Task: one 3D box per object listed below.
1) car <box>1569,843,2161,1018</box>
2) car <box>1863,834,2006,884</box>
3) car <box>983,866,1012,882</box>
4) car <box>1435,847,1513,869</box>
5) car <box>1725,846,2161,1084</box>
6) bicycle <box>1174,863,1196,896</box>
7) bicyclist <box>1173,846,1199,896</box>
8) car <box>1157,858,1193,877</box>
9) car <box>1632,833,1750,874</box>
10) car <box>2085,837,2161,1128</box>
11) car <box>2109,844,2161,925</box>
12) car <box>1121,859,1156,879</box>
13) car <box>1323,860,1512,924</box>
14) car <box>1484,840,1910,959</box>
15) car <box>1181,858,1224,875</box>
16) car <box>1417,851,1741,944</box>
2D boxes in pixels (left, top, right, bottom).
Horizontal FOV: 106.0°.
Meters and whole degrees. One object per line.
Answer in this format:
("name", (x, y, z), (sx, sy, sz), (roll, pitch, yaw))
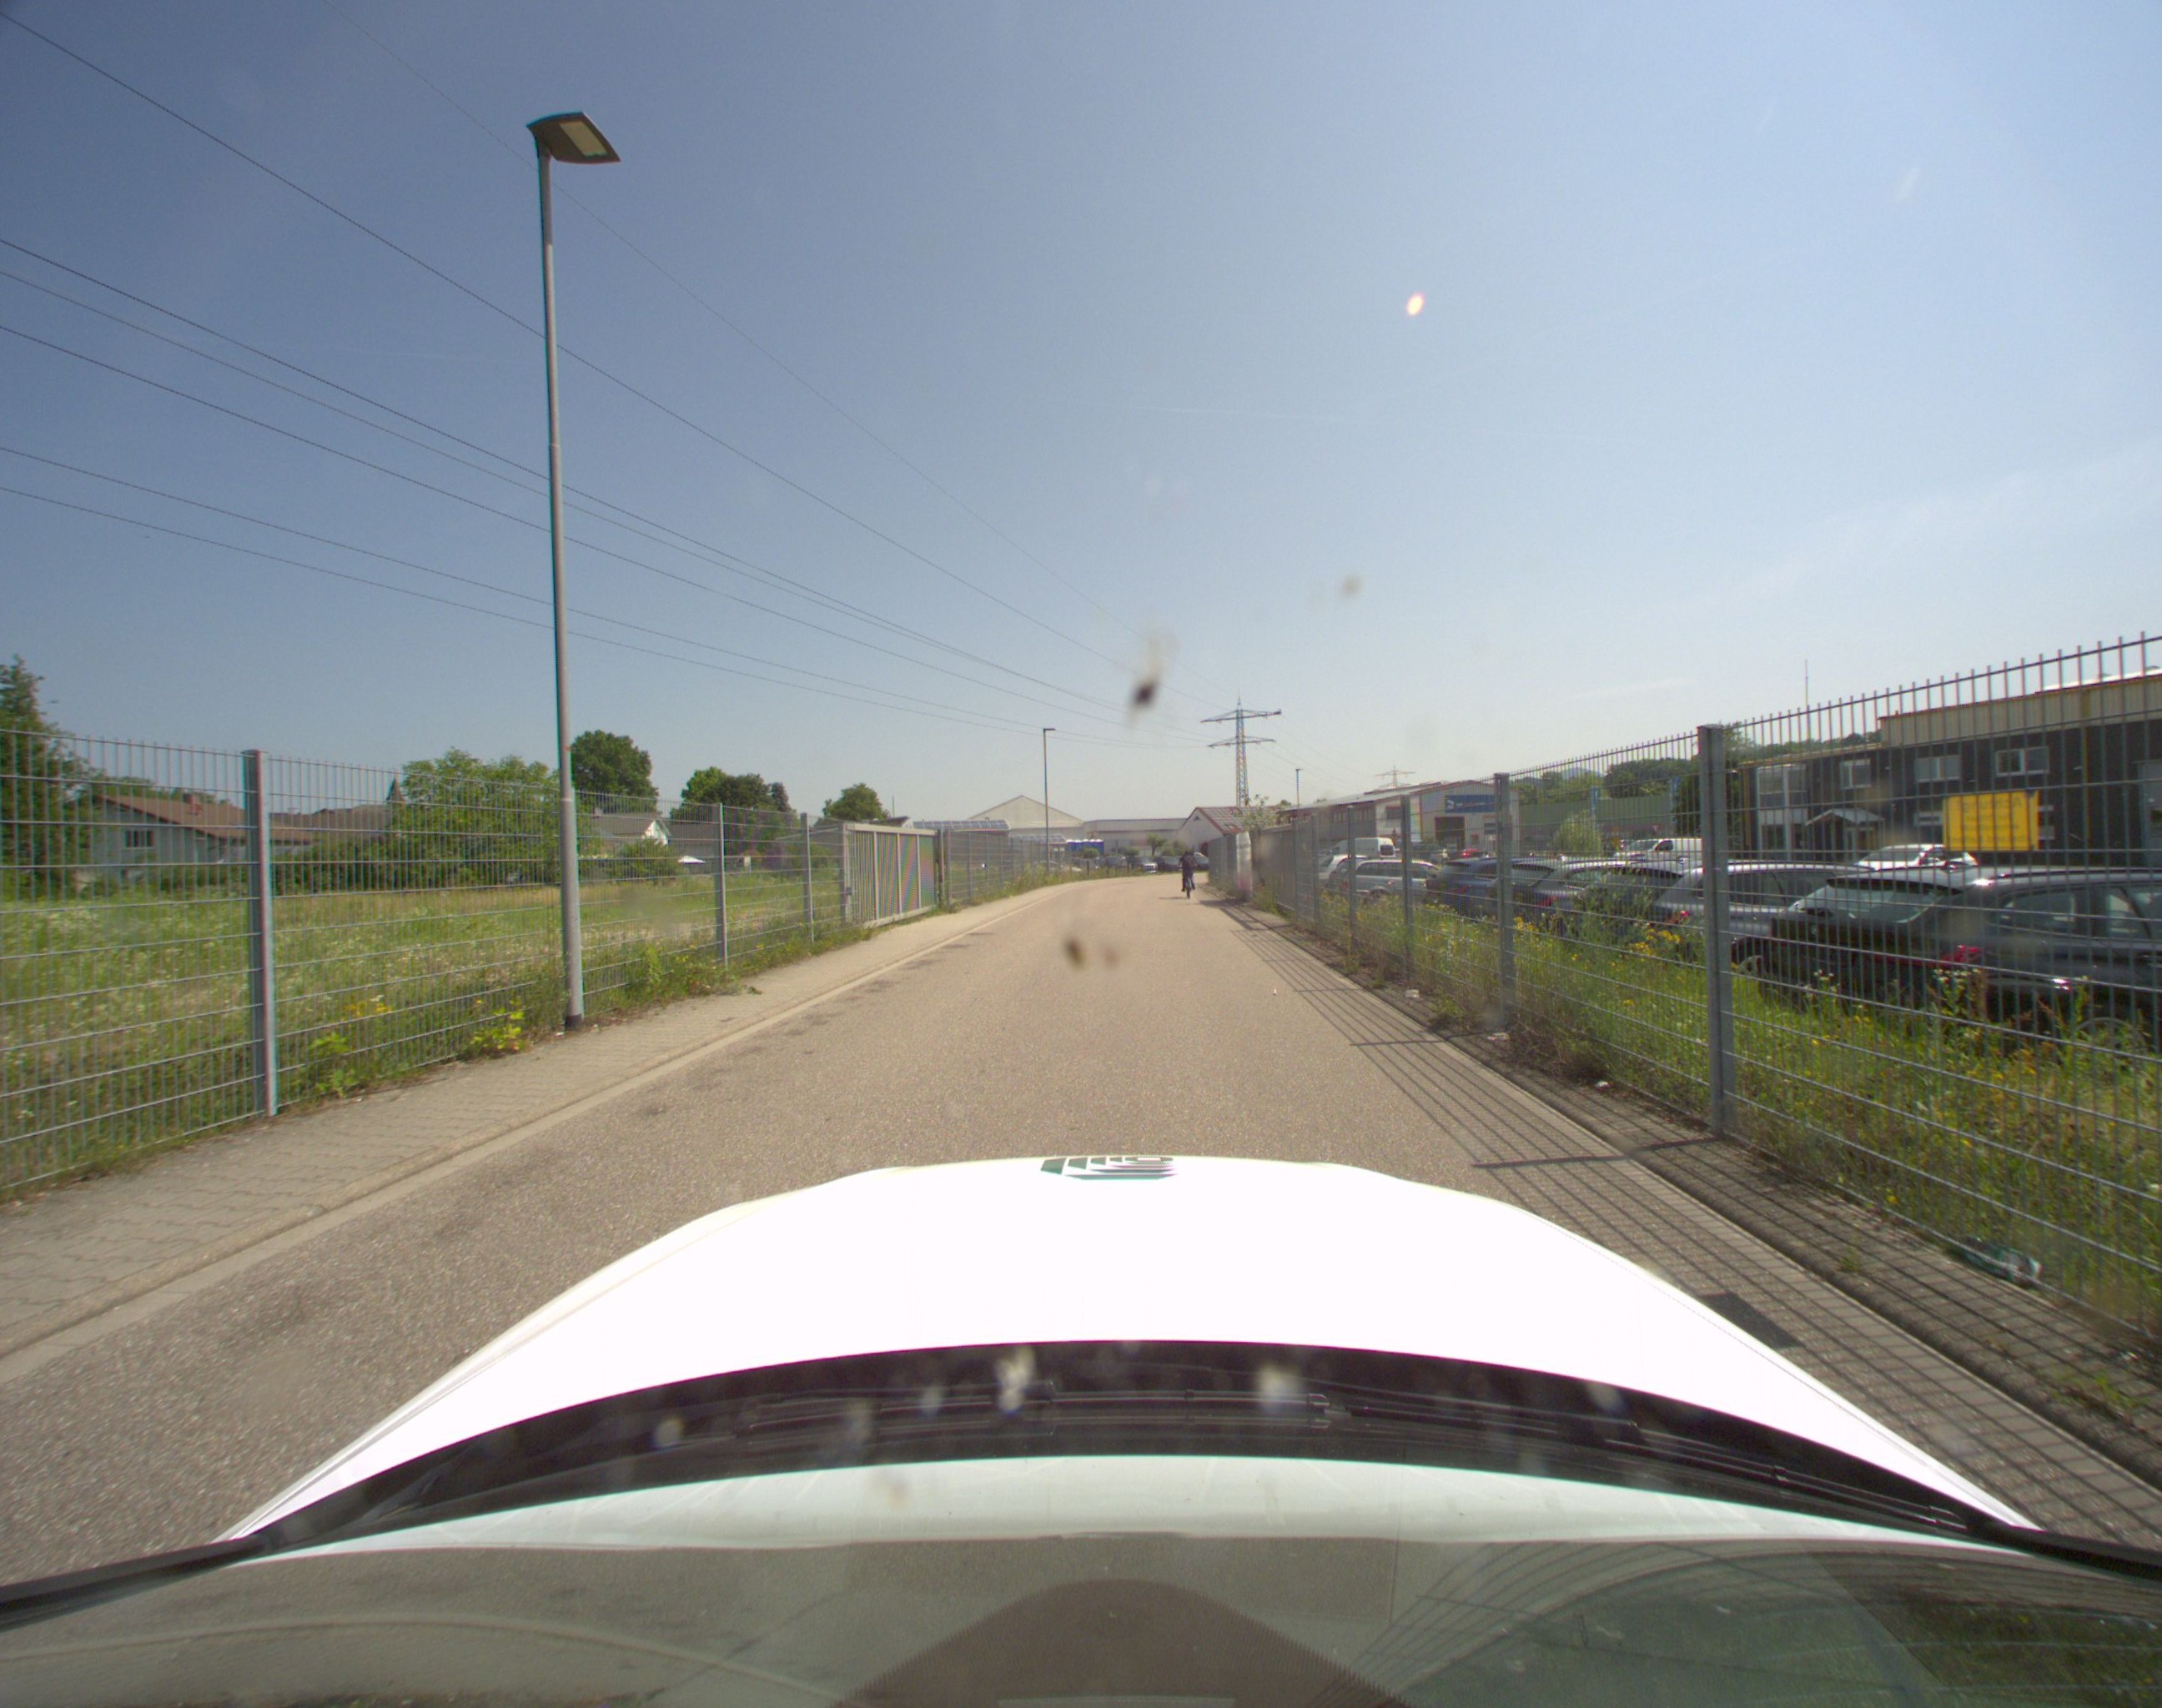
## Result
("car", (7.446, 0.645, 7.755), (4.492, 1.406, 1.839), (1, 0, 1))
("car", (27.029, 0.143, 25.812), (3.661, 1.436, 1.528), (-1, 0, -15))
("car", (-7.260, 1.728, 70.548), (1.867, 1.298, 3.421), (-1, 0, -17))
("car", (24.295, 0.259, 50.404), (1.915, 1.277, 3.885), (-1, 0, -36))
("car", (7.405, 0.699, 5.714), (4.187, 1.406, 1.843), (1, 0, 8))
("bicycle", (3.524, 0.851, 27.462), (0.681, 1.051, 1.905), (-1, 0, 8))
("bicyclist", (3.545, 0.561, 27.434), (0.838, 1.618, 1.042), (0, 1, 8))
("car", (8.060, 1.164, 69.998), (1.866, 1.554, 3.751), (-1, 0, -15))
("car", (30.851, -0.034, 41.230), (5.061, 1.899, 1.851), (-1, 0, -11))
("car", (7.226, 0.659, 3.097), (4.187, 1.406, 1.843), (1, 0, 8))
("car", (20.553, 0.470, 14.024), (4.510, 1.351, 1.621), (-1, 0, -11))
("car", (4.831, 1.268, 69.294), (1.866, 1.644, 3.615), (-1, 0, -15))
("car", (8.459, 0.926, 20.719), (4.149, 1.474, 1.638), (1, 0, 0))
("car", (8.138, 0.566, 11.085), (4.490, 1.406, 1.639), (1, 0, 3))
("car", (10.639, 1.104, 71.647), (1.999, 1.435, 4.641), (-1, 0, -15))
("car", (8.420, 0.697, 14.136), (4.486, 1.406, 1.770), (1, 0, 6))
